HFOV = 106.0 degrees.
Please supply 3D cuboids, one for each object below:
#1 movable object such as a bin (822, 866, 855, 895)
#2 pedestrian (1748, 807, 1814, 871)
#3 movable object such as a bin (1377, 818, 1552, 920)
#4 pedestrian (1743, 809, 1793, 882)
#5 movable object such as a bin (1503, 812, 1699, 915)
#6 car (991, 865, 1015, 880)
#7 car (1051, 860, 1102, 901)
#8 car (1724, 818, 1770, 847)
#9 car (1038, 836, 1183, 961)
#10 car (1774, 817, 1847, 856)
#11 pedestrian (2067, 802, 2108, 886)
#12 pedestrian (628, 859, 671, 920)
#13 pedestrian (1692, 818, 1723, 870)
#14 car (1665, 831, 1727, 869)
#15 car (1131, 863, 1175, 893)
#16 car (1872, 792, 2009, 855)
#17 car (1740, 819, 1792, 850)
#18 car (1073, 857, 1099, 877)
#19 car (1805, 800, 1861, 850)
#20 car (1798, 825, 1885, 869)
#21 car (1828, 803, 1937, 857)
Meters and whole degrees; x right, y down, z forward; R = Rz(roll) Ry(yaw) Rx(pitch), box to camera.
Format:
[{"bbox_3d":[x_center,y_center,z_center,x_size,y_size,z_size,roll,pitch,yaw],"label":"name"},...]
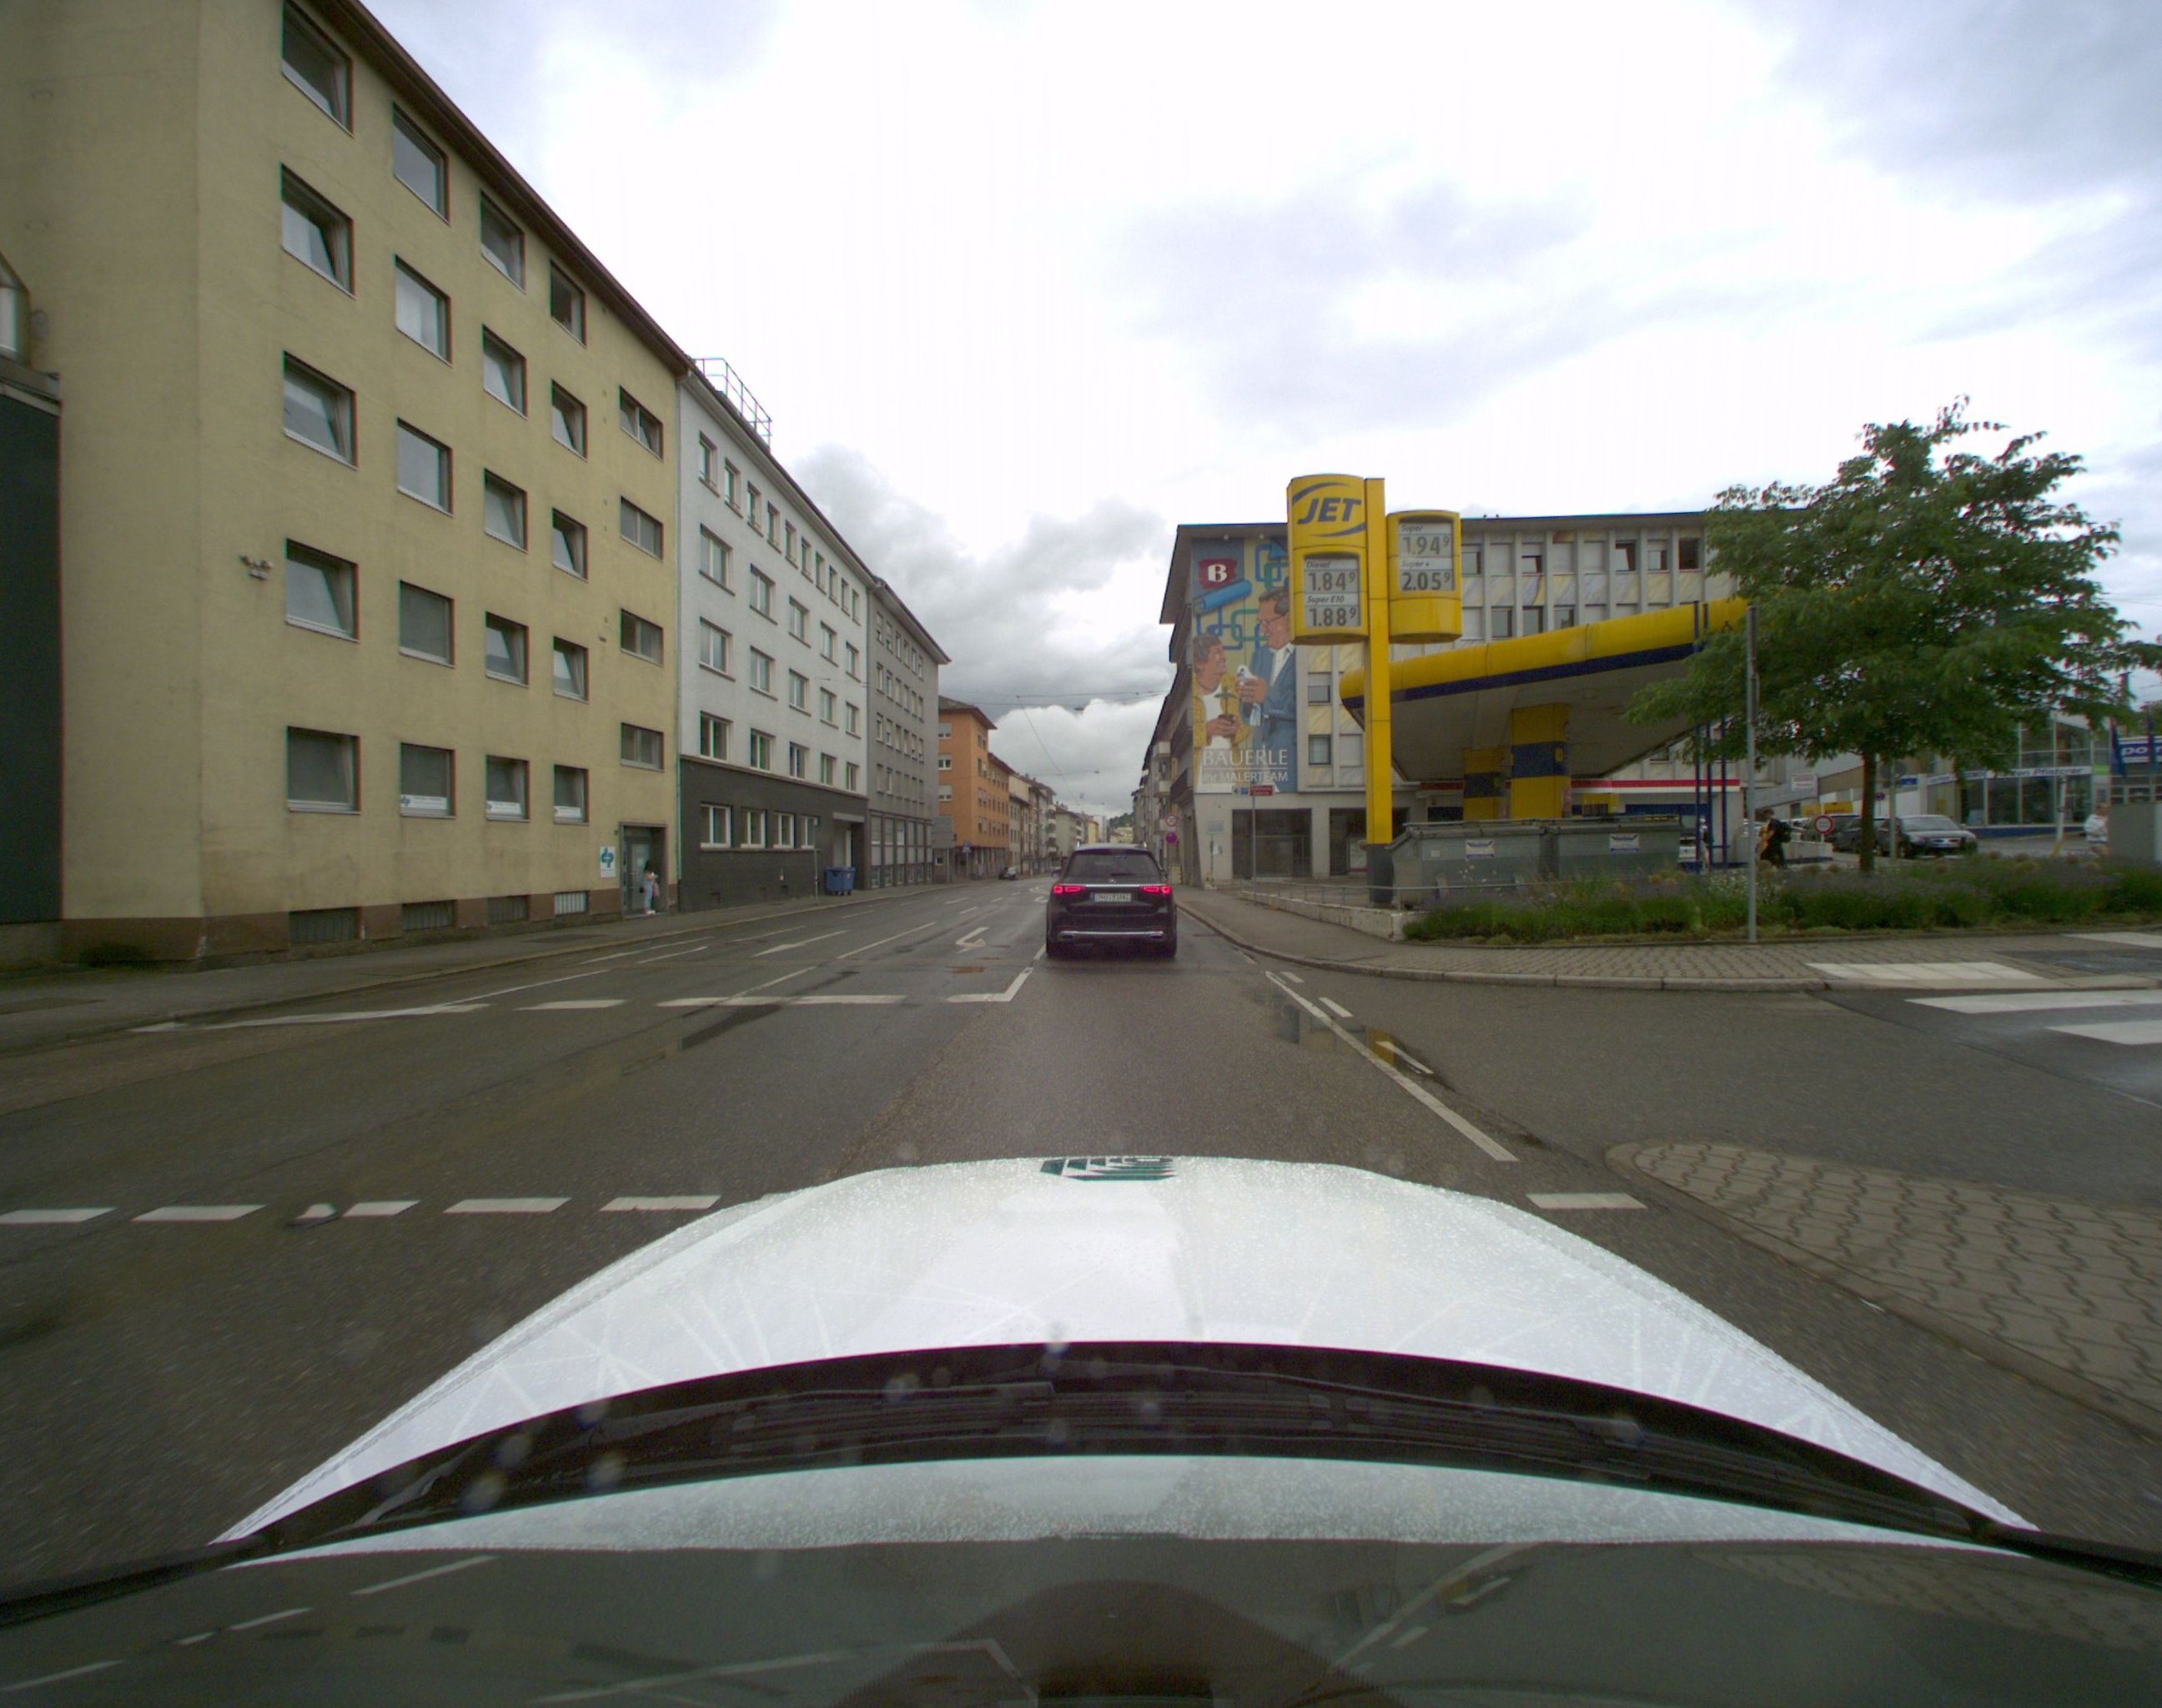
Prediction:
[{"bbox_3d":[-11.239,1.225,37.752,1.072,1.324,1.191,1,-1,2],"label":"movable object such as a bin"},{"bbox_3d":[17.386,-0.364,20.238,0.922,1.523,1.101,2,-1,-39],"label":"pedestrian"},{"bbox_3d":[6.371,0.242,13.743,2.147,1.574,1.774,-1,-1,2],"label":"movable object such as a bin"},{"bbox_3d":[24.984,-0.305,29.635,0.997,2.567,1.154,1,-1,17],"label":"pedestrian"},{"bbox_3d":[8.663,0.161,13.740,2.147,1.555,1.774,-2,-1,2],"label":"movable object such as a bin"},{"bbox_3d":[-8.027,1.907,83.996,1.885,1.459,4.549,1,-1,1],"label":"car"},{"bbox_3d":[-0.171,1.048,33.639,1.887,1.510,4.172,2,-1,0],"label":"car"},{"bbox_3d":[48.720,-1.536,59.661,1.974,1.865,4.608,1,-1,31],"label":"car"},{"bbox_3d":[0.512,0.649,14.071,2.068,1.765,4.613,1,0,2],"label":"car"},{"bbox_3d":[37.774,-0.863,42.308,1.974,1.865,4.608,1,-1,31],"label":"car"},{"bbox_3d":[18.685,-0.178,15.123,0.577,1.515,0.474,2,-1,-39],"label":"pedestrian"},{"bbox_3d":[-12.305,0.998,23.237,0.714,1.689,0.812,1,-1,4],"label":"pedestrian"},{"bbox_3d":[21.191,-0.329,27.570,0.671,1.758,0.736,1,-1,25],"label":"pedestrian"},{"bbox_3d":[27.110,-0.114,35.857,1.974,1.516,4.446,-3,-3,39],"label":"car"},{"bbox_3d":[3.908,1.282,44.818,1.887,1.402,4.607,-5,-1,0],"label":"car"},{"bbox_3d":[28.670,-0.938,27.369,1.974,1.865,4.608,1,-1,31],"label":"car"},{"bbox_3d":[45.695,-1.290,54.417,1.974,1.865,4.608,1,-1,31],"label":"car"},{"bbox_3d":[0.490,1.082,70.421,2.068,1.650,4.297,1,0,2],"label":"car"},{"bbox_3d":[59.436,-2.225,64.452,2.353,3.688,5.025,1,-1,32],"label":"car"},{"bbox_3d":[34.611,-0.290,37.211,1.974,1.865,4.608,1,-1,31],"label":"car"},{"bbox_3d":[31.130,-0.870,31.798,1.974,1.865,4.608,1,-1,31],"label":"car"}]
